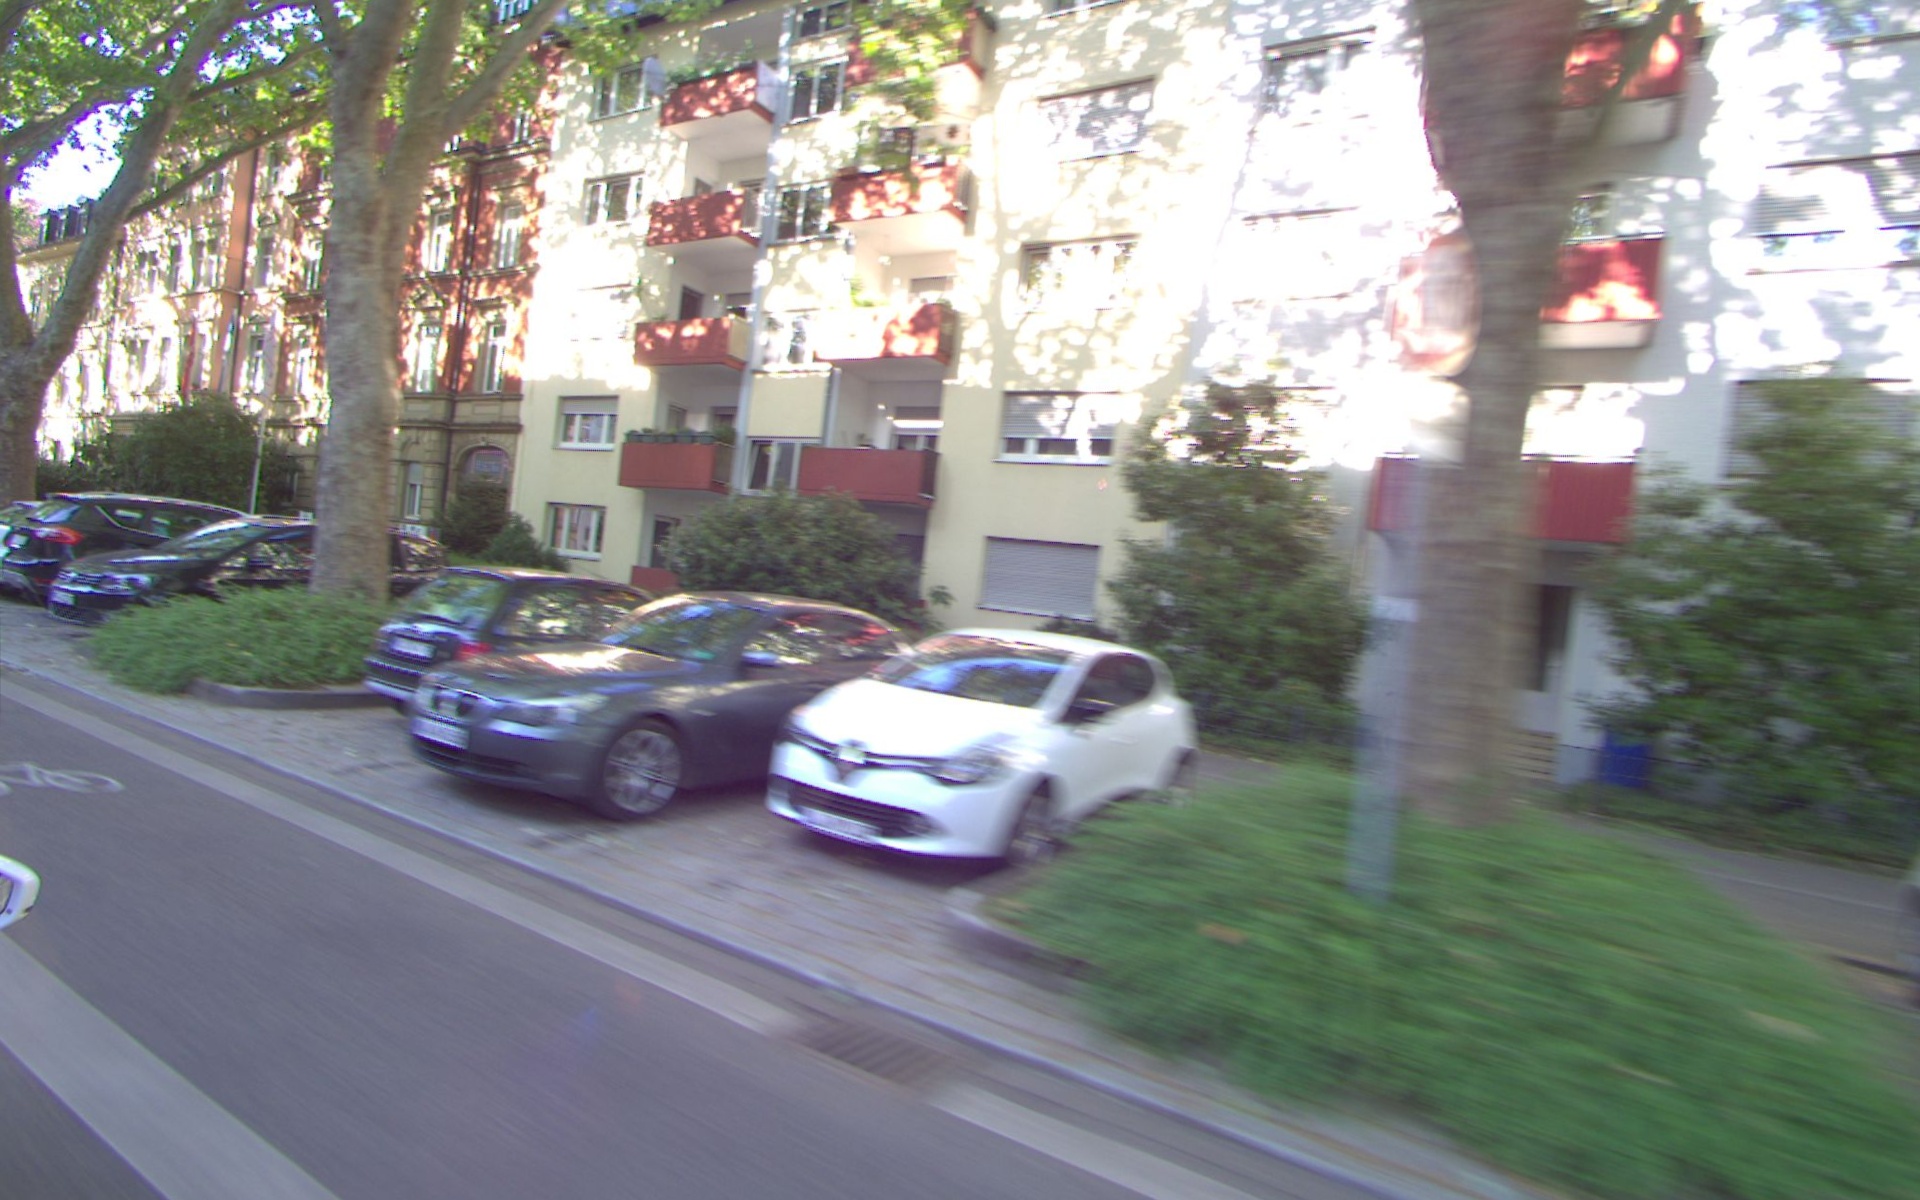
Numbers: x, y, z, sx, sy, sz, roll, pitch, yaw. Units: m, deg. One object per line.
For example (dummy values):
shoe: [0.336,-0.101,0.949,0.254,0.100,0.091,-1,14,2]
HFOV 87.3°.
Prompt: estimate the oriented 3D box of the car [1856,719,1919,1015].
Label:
car: [5.332,1.418,3.946,1.694,1.497,3.905,7,0,28]

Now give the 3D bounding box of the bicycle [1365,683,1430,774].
bicycle: [6.156,1.761,14.110,0.607,1.055,1.793,7,1,27]

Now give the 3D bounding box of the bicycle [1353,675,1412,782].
bicycle: [5.633,1.658,13.362,0.562,1.172,1.948,6,1,24]

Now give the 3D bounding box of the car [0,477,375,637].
car: [-10.702,-0.500,14.001,1.694,1.700,3.993,7,0,30]

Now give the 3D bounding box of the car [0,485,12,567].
car: [-21.544,-1.755,19.924,1.793,1.687,3.637,7,0,34]

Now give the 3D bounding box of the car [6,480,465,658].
car: [-8.844,-0.272,12.716,1.816,1.687,4.241,7,0,30]

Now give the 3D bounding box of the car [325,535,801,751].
car: [-3.565,0.439,9.799,1.731,1.532,3.993,7,0,30]

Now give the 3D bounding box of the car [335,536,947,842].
car: [-2.045,0.595,7.691,1.898,1.532,4.149,7,0,30]

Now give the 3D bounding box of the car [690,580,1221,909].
car: [0.290,0.866,7.294,1.891,1.497,4.041,7,0,31]
